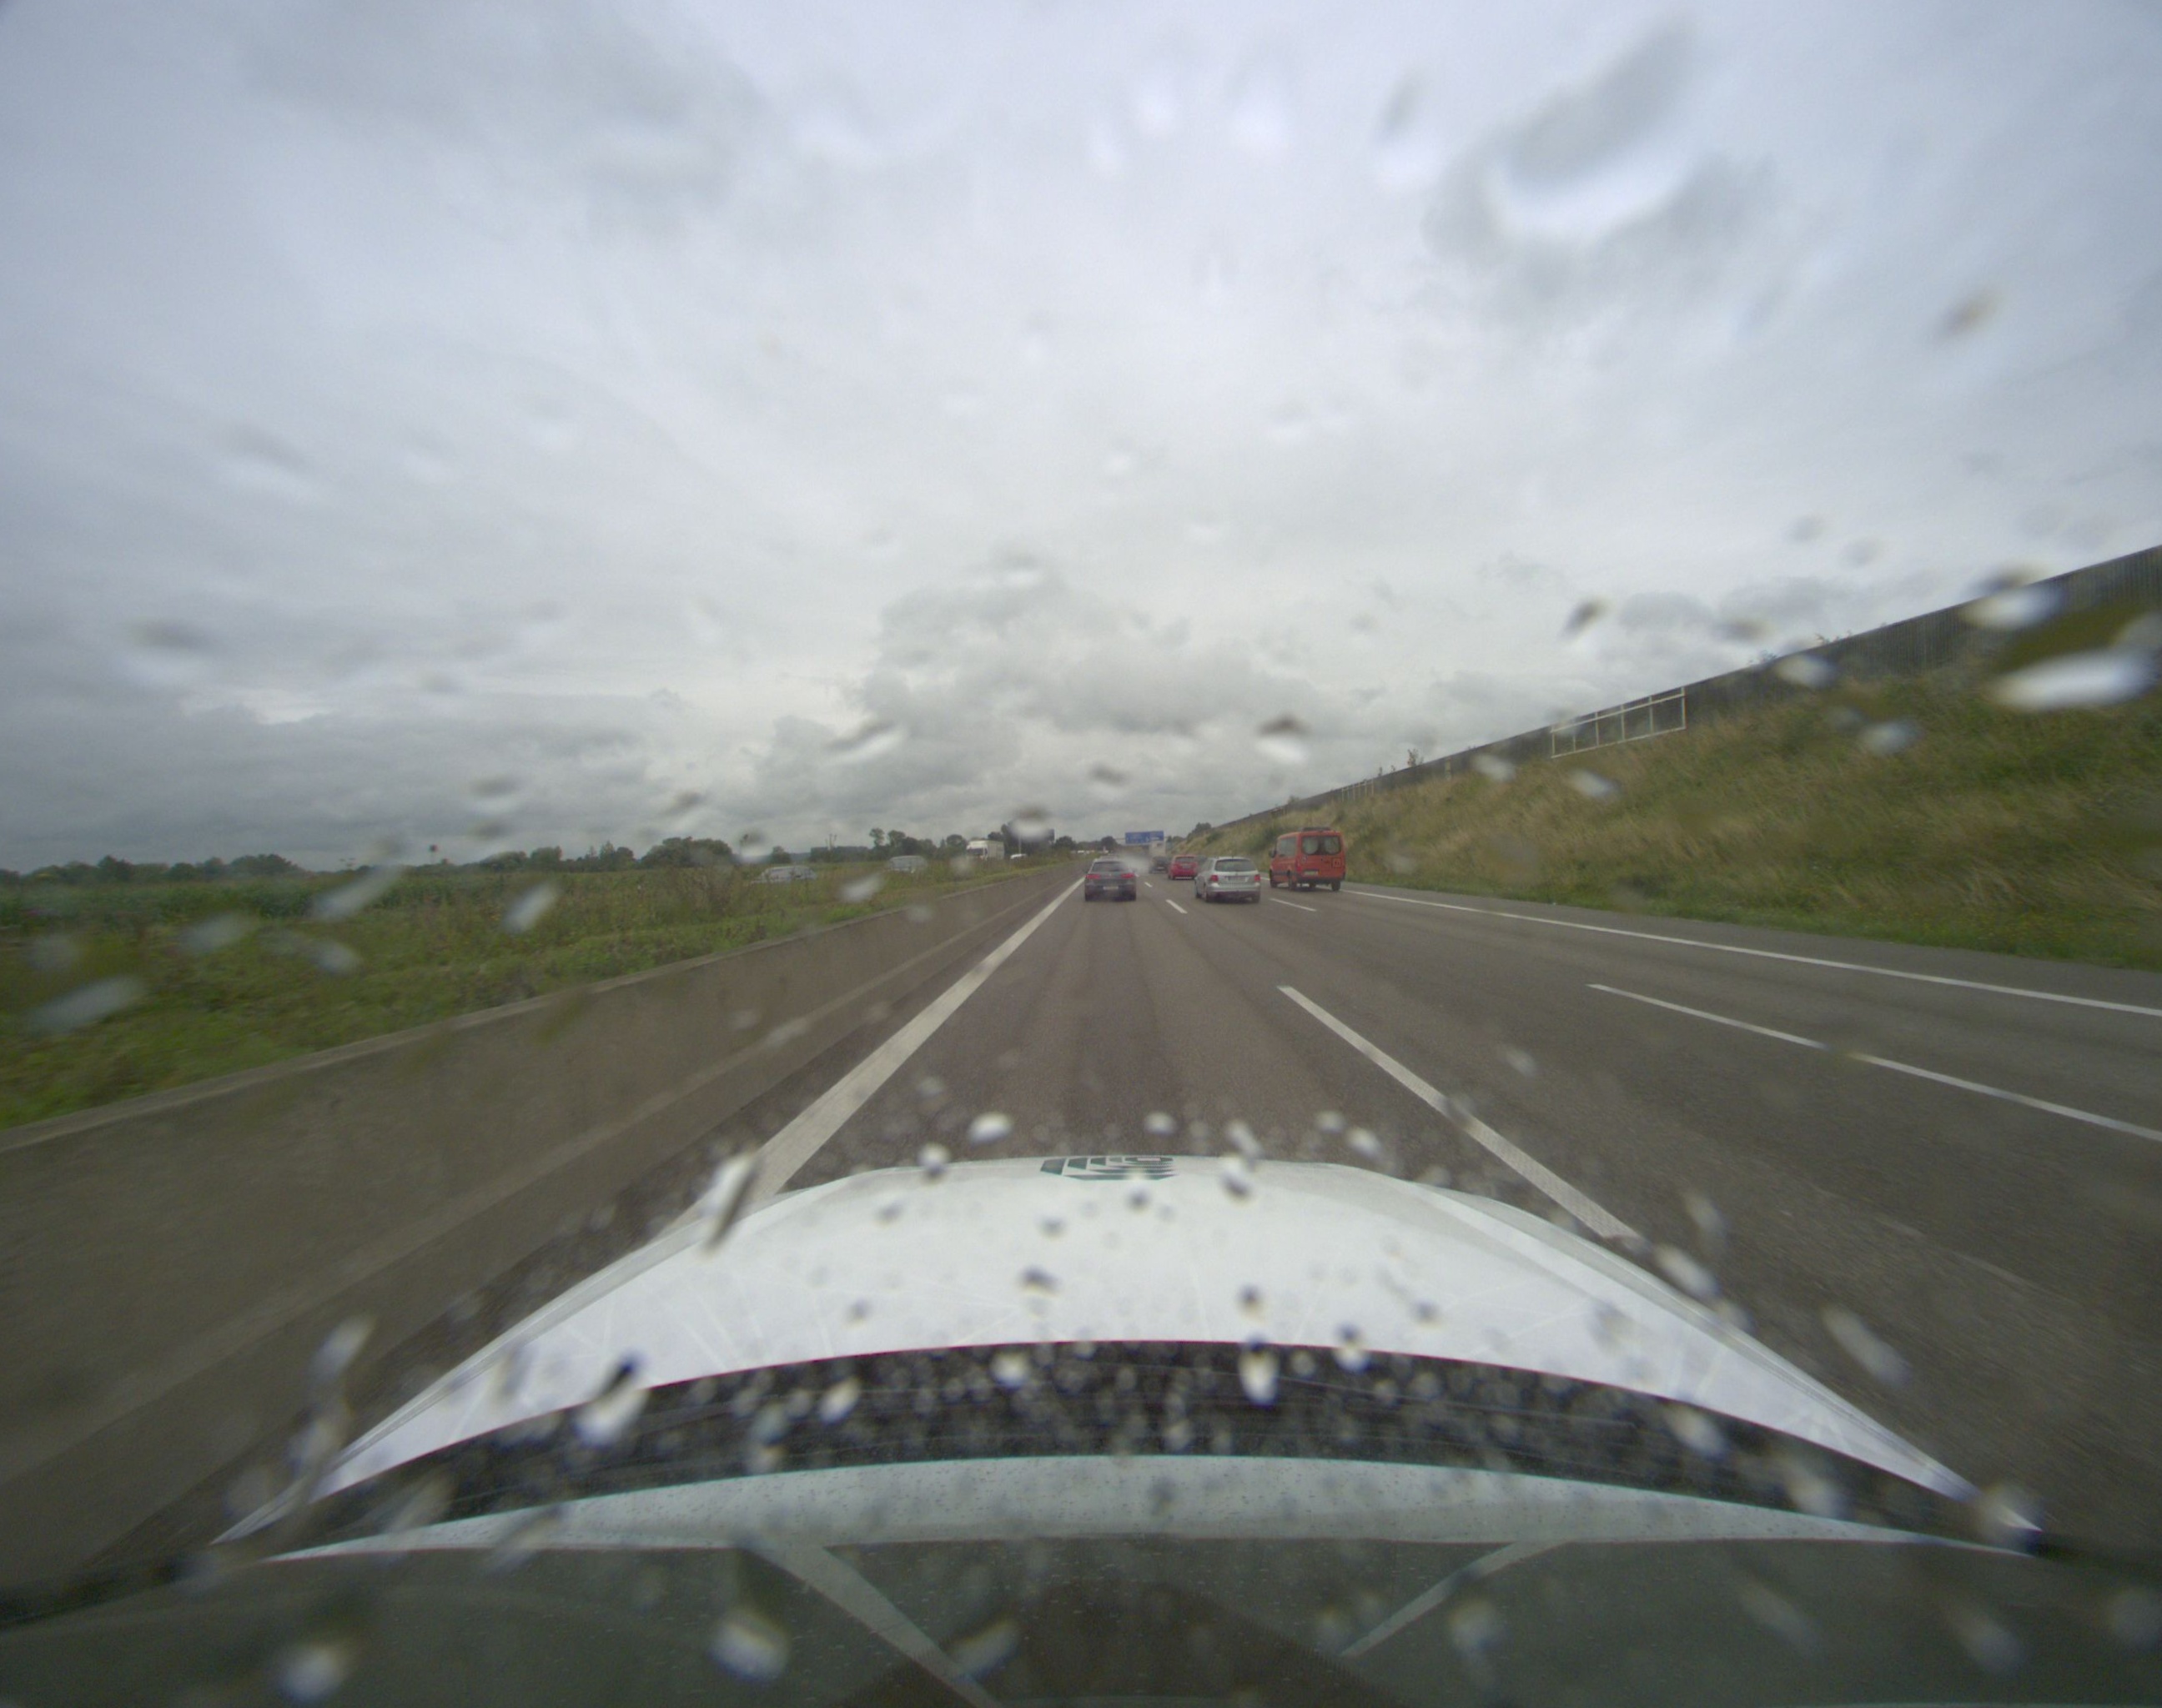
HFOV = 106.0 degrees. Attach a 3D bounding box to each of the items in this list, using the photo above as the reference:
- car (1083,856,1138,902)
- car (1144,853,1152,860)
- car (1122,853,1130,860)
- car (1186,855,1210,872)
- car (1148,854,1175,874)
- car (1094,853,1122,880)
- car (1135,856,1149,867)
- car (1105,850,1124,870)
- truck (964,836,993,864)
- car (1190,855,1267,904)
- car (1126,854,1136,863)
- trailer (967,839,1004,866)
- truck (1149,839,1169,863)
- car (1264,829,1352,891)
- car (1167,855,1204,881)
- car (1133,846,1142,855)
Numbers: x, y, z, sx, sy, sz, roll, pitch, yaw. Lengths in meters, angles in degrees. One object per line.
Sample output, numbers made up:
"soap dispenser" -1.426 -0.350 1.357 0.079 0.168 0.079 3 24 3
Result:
"car" 1.061 0.813 28.284 1.761 1.467 4.003 0 0 3
"car" 18.238 0.592 222.503 1.986 1.860 4.392 -2 0 2
"car" 11.740 0.642 214.017 1.986 1.813 4.599 -1 0 2
"car" 9.895 0.764 69.059 1.695 1.401 3.879 -1 0 4
"car" 6.645 0.806 67.680 1.914 1.522 4.624 -1 0 2
"car" 1.834 0.800 54.788 1.746 1.750 4.004 -1 -1 4
"car" 9.314 1.178 124.875 1.839 1.687 4.001 0 -1 1
"car" 3.367 0.579 80.991 1.698 1.796 3.858 -3 0 3
"truck" -13.186 -0.459 105.220 2.959 3.428 5.629 0 -1 1
"car" 4.766 0.787 26.951 1.736 1.425 4.517 -2 0 1
"car" 9.436 0.876 155.090 1.745 1.517 4.002 -2 0 2
"trailer" -12.938 -0.151 111.721 2.903 3.428 13.248 0 0 2
"truck" 15.176 -0.474 159.533 3.269 4.295 19.050 -1 0 4
"car" 9.352 0.216 34.137 2.078 2.315 6.183 -1 0 1
"car" 6.404 0.809 50.291 1.883 1.446 4.689 -1 0 3
"car" 13.788 -0.800 198.581 1.986 2.013 4.001 -2 0 1
